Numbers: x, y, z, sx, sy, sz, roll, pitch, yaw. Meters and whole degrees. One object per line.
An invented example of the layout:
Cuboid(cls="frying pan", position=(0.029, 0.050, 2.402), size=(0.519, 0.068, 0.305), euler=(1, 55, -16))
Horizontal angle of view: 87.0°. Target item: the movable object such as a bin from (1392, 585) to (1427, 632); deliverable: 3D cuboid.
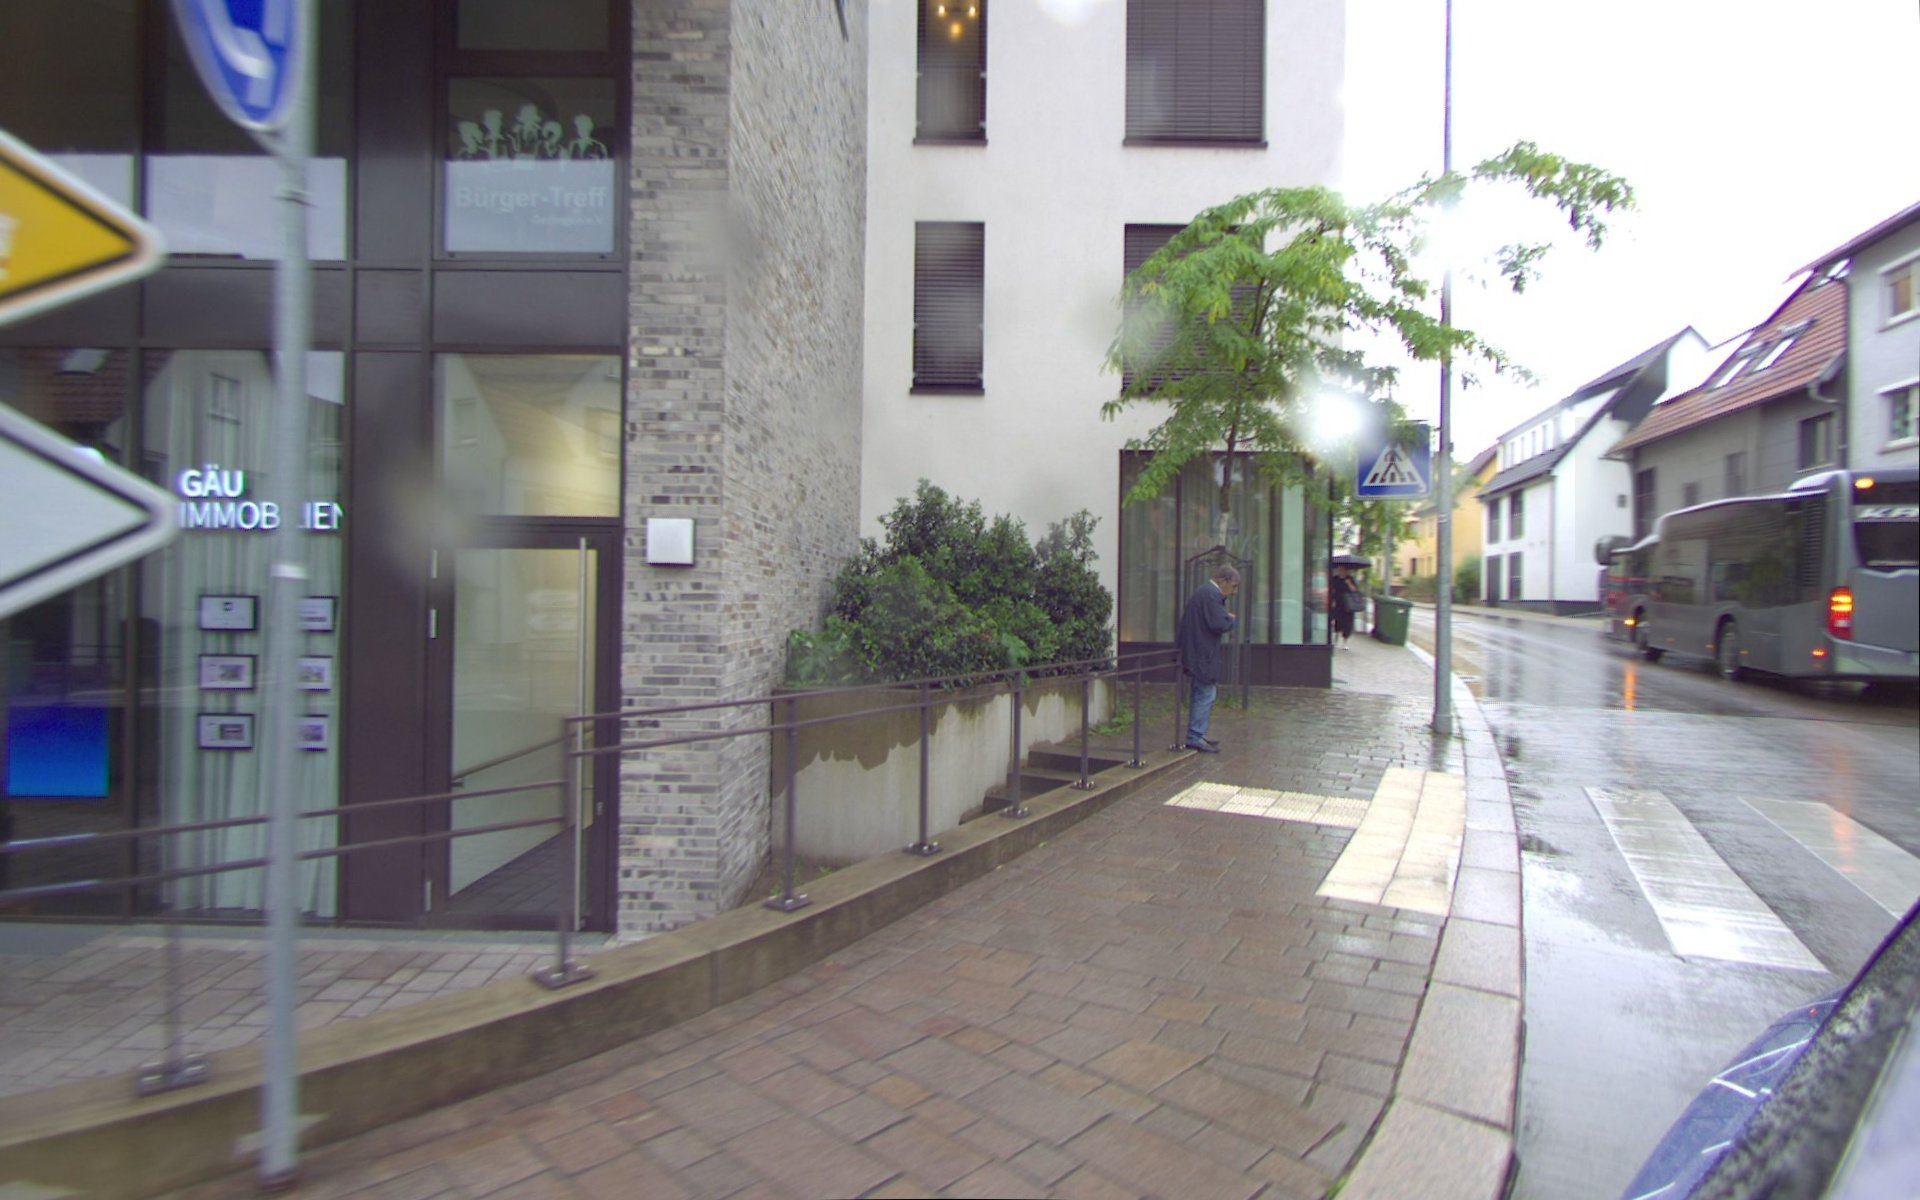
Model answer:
Cuboid(cls="movable object such as a bin", position=(11.076, 0.199, 24.947), size=(0.755, 1.132, 0.620), euler=(0, 1, 20))

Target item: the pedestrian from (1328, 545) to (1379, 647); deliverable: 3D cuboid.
Cuboid(cls="pedestrian", position=(8.108, -0.101, 20.891), size=(0.857, 2.038, 1.078), euler=(0, 2, 15))

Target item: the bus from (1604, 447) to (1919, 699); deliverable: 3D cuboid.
Cuboid(cls="bus", position=(14.152, -0.463, 17.477), size=(2.698, 3.118, 10.877), euler=(0, 1, 20))

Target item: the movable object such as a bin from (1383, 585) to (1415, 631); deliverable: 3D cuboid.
Cuboid(cls="movable object such as a bin", position=(11.725, 0.195, 27.072), size=(0.746, 1.185, 0.626), euler=(2, 2, 23))

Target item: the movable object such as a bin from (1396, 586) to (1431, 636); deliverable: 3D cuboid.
Cuboid(cls="movable object such as a bin", position=(10.660, 0.250, 23.810), size=(0.717, 1.132, 0.573), euler=(0, 1, 21))

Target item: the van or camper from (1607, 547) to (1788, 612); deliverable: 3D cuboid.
Cuboid(cls="van or camper", position=(27.529, -0.765, 37.974), size=(4.970, 1.957, 1.991), euler=(-5, 1, 16))

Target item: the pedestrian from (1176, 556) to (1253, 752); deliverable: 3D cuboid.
Cuboid(cls="pedestrian", position=(2.222, 0.440, 8.894), size=(0.575, 1.625, 0.701), euler=(2, 2, 13))

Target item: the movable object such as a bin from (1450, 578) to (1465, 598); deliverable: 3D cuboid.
Cuboid(cls="movable object such as a bin", position=(29.366, -0.717, 59.738), size=(0.651, 1.122, 0.717), euler=(4, 3, 17))

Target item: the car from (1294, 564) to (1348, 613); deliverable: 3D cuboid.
Cuboid(cls="car", position=(15.805, -0.576, 44.468), size=(1.816, 1.930, 4.583), euler=(3, 3, 16))

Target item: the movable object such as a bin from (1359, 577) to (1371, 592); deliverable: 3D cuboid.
Cuboid(cls="movable object such as a bin", position=(29.365, -1.095, 73.325), size=(0.704, 1.072, 0.574), euler=(0, 2, 11))

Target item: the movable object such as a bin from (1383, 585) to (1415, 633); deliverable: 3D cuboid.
Cuboid(cls="movable object such as a bin", position=(11.473, 0.223, 26.461), size=(0.746, 1.185, 0.626), euler=(2, 2, 23))
